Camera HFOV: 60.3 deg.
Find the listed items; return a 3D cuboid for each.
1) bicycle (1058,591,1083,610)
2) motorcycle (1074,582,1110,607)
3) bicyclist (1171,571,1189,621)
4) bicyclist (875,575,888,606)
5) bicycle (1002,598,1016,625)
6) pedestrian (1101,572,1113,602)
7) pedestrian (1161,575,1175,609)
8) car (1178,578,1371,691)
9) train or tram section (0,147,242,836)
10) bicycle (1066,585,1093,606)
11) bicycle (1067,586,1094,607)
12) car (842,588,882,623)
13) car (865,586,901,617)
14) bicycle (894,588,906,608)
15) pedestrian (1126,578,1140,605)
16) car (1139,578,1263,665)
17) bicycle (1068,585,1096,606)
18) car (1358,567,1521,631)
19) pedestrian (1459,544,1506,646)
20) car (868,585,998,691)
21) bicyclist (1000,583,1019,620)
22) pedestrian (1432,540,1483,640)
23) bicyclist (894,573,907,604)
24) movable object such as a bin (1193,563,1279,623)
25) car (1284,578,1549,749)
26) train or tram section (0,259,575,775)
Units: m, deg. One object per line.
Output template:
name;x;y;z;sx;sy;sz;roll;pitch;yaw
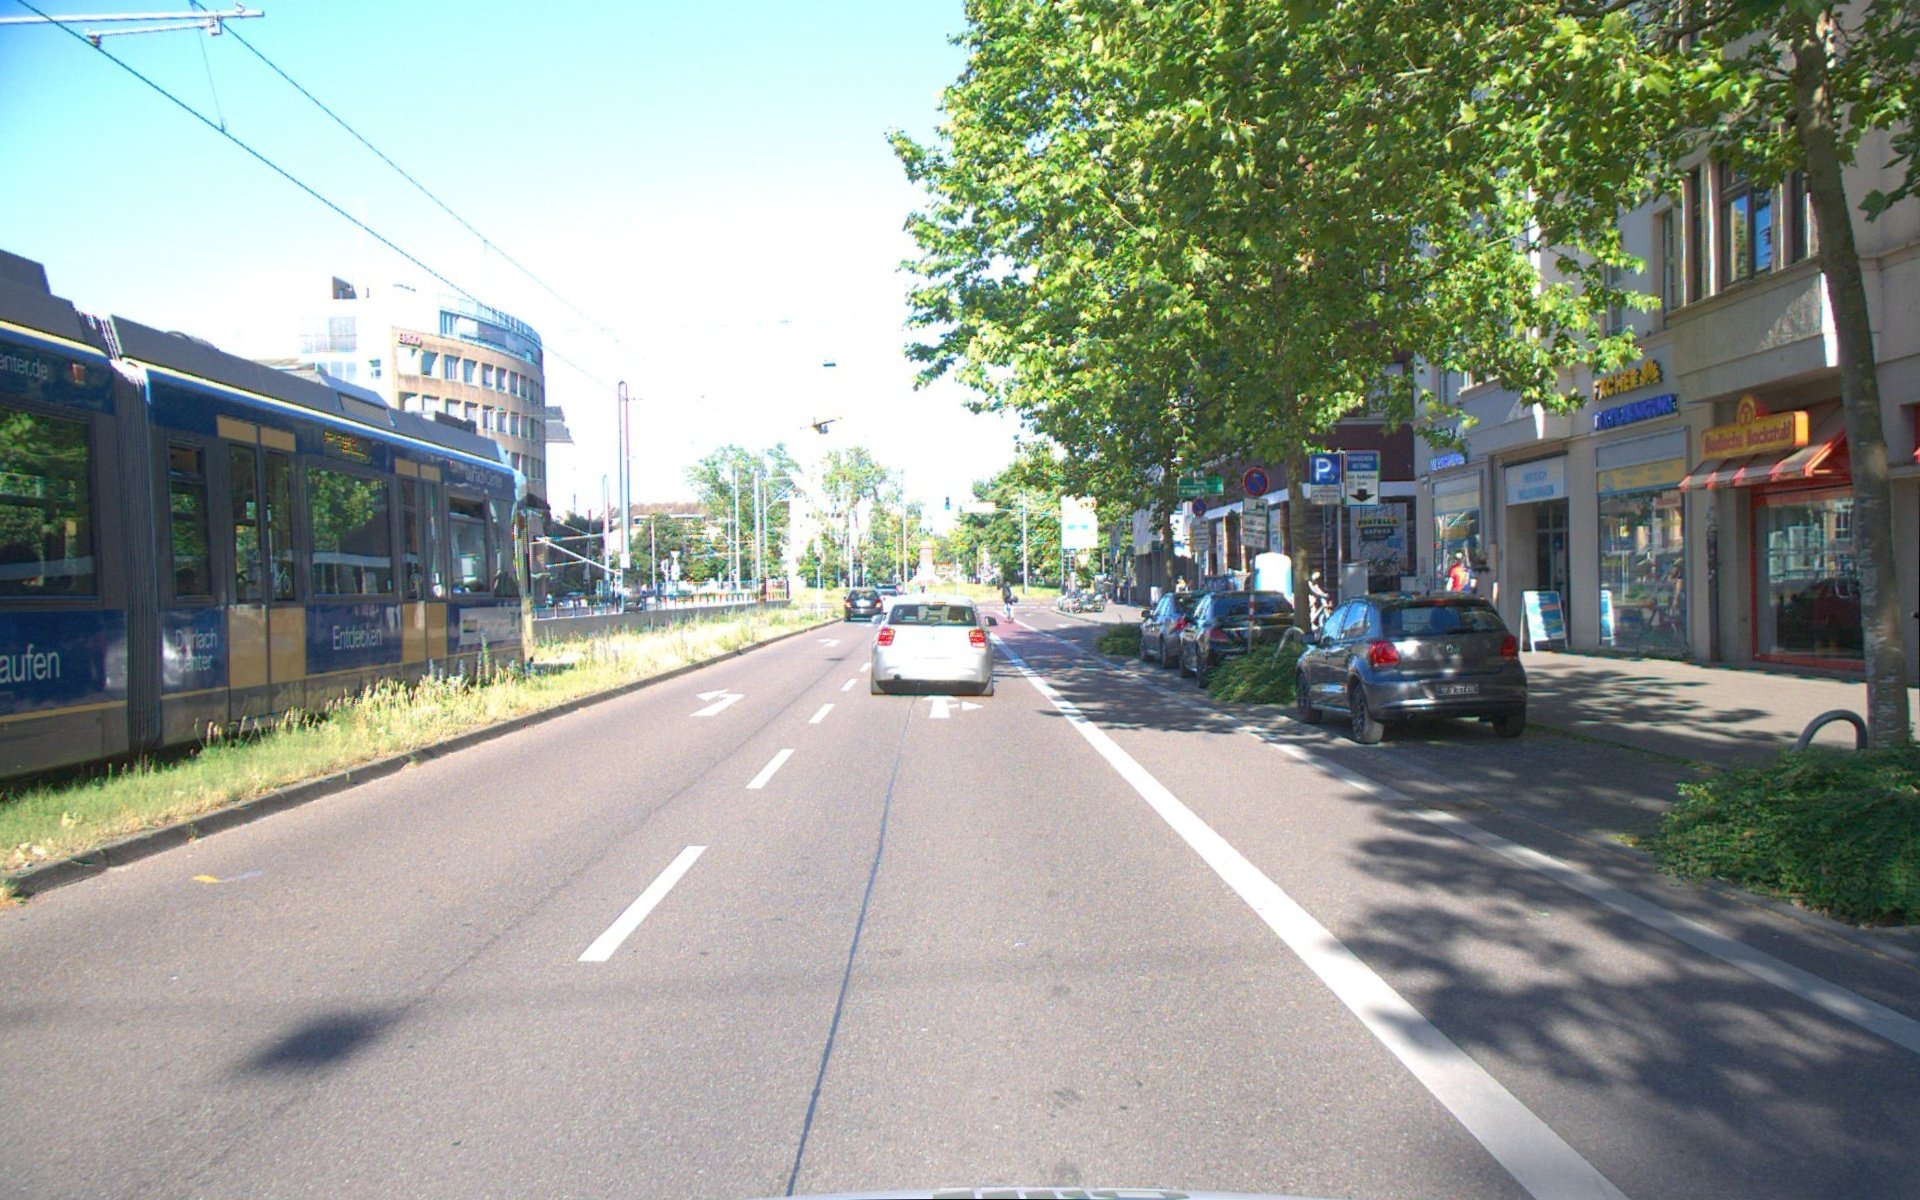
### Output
bicycle;6.389;0.037;95.855;1.435;1.086;0.257;-2;0;1
motorcycle;6.897;-0.288;86.301;1.816;1.323;0.652;-1;0;2
bicyclist;7.678;-0.143;57.688;0.588;1.719;0.598;-1;0;10
bicyclist;-4.105;-0.494;86.546;0.604;1.599;0.686;1;0;1
bicycle;2.091;0.495;70.652;0.489;1.107;1.997;1;0;-1
pedestrian;10.272;-0.901;115.336;0.774;2.049;0.870;1;0;6
pedestrian;10.000;-0.393;79.521;0.561;1.610;0.556;-1;0;-1
car;4.660;0.453;25.189;1.997;1.535;4.593;-1;1;-1
train or tram section;-7.005;-0.643;10.835;2.895;3.965;3.865;1;0;-1
bicycle;6.544;-0.255;90.825;1.435;1.086;0.257;-2;0;1
bicycle;6.565;-0.202;90.364;1.435;1.086;0.257;-2;0;1
car;-4.304;0.222;72.973;1.692;1.496;4.407;0;0;-3
car;-3.760;0.071;81.268;1.611;1.446;3.999;0;0;-1
bicycle;-3.146;-0.111;86.740;0.332;1.075;1.774;-1;0;-10
pedestrian;12.117;-0.608;115.754;0.808;1.888;0.917;1;0;14
car;4.701;0.374;32.807;1.753;1.582;4.435;-1;1;-1
bicycle;6.594;-0.226;89.385;1.435;1.086;0.257;-2;0;1
car;13.999;-0.045;48.479;4.211;1.819;1.995;0;1;-1
pedestrian;9.041;-0.092;28.616;0.546;1.741;0.770;-1;0;-1
car;-0.399;0.501;24.655;1.761;1.439;3.999;-1;1;-1
bicyclist;2.104;0.061;70.646;0.769;1.558;0.895;1;0;-1
pedestrian;9.781;-0.198;32.523;0.699;1.933;0.863;-1;0;-1
bicyclist;-3.122;-0.614;86.710;0.606;1.599;0.684;-1;0;-12
movable object such as a bin;9.071;-0.273;54.539;1.908;1.875;3.476;-1;1;-6
car;4.707;0.575;17.599;1.660;1.528;3.801;-3;1;-1
train or tram section;-6.976;-0.667;18.217;2.892;3.965;10.802;1;0;0
